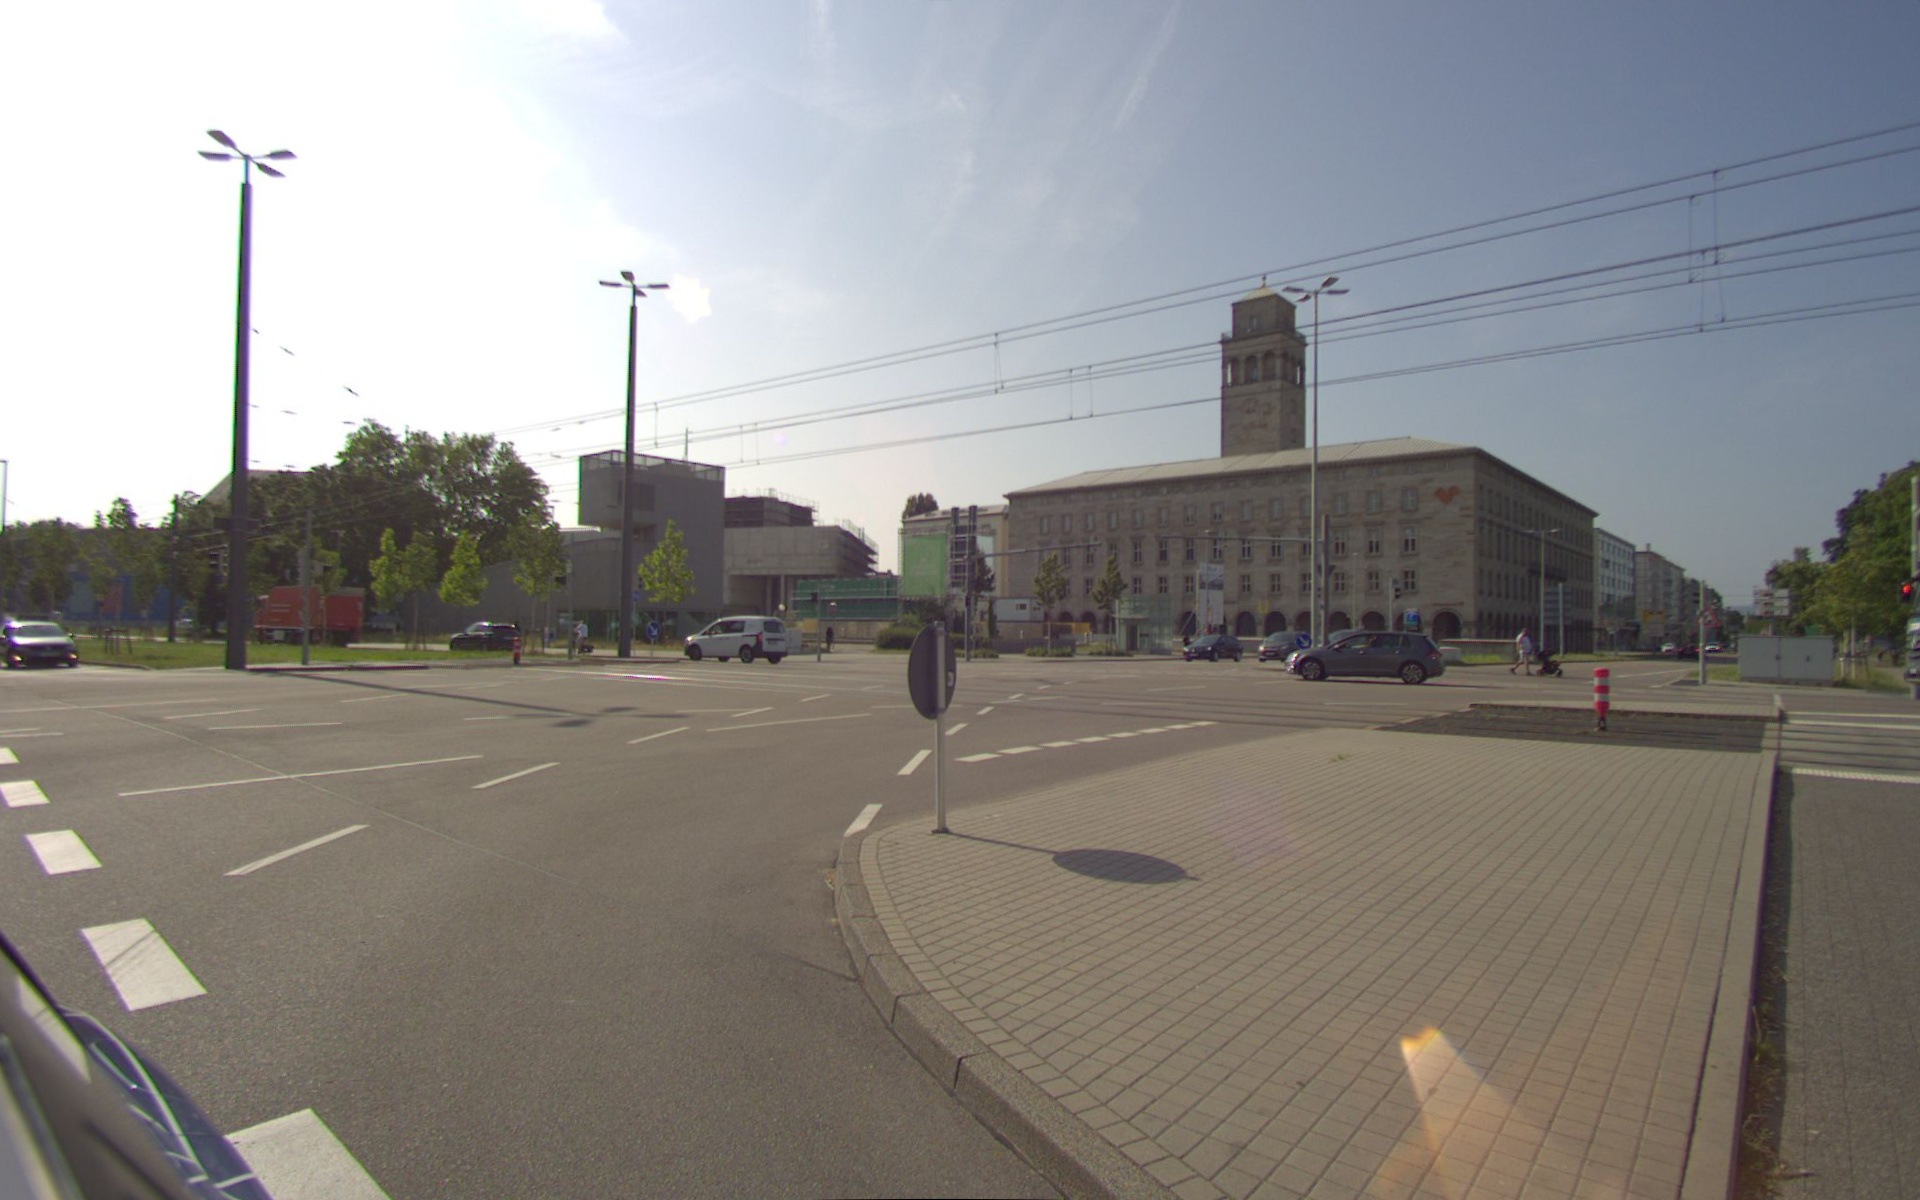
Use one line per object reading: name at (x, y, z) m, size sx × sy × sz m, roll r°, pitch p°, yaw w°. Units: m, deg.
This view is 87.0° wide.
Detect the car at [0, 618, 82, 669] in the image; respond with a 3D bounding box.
car at (-29.106, 1.336, 31.746) m, size 3.864 × 1.443 × 1.688 m, roll -1°, pitch 0°, yaw 38°

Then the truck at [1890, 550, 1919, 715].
truck at (25.243, 0.690, 20.543) m, size 8.863 × 3.614 × 2.997 m, roll -1°, pitch -2°, yaw 33°

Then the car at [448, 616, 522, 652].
car at (-22.983, 1.610, 48.941) m, size 3.994 × 1.613 × 1.624 m, roll 0°, pitch 0°, yaw 38°

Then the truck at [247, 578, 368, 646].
truck at (-39.921, 0.798, 61.724) m, size 10.408 × 3.838 × 2.943 m, roll -1°, pitch -2°, yaw 38°

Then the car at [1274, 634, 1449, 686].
car at (11.260, 1.646, 28.469) m, size 4.405 × 1.357 × 1.585 m, roll -1°, pitch -2°, yaw 30°

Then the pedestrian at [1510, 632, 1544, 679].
pedestrian at (21.150, 2.057, 37.754) m, size 1.005 × 1.747 × 0.554 m, roll -1°, pitch -2°, yaw 41°

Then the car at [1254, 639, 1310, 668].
car at (16.643, 2.727, 52.273) m, size 1.707 × 1.391 × 3.609 m, roll -1°, pitch -2°, yaw 36°

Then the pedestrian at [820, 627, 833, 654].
pedestrian at (-8.377, 2.535, 63.607) m, size 0.538 × 1.710 × 0.599 m, roll -1°, pitch -3°, yaw 42°

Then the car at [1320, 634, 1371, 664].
car at (19.081, 2.408, 50.062) m, size 1.566 × 1.431 × 3.301 m, roll -1°, pitch -2°, yaw 36°

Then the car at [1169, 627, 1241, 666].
car at (13.280, 2.498, 54.694) m, size 3.940 × 2.029 × 2.001 m, roll 2°, pitch -2°, yaw -44°

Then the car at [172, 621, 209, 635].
car at (-98.708, 3.623, 129.793) m, size 4.804 × 1.781 × 1.999 m, roll -1°, pitch -2°, yaw 30°

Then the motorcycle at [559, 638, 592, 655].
motorcycle at (-18.968, 2.290, 49.948) m, size 1.815 × 0.839 × 0.515 m, roll -1°, pitch -2°, yaw 31°

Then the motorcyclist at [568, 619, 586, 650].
motorcyclist at (-18.898, 1.708, 49.929) m, size 0.858 × 1.539 × 0.388 m, roll -1°, pitch -2°, yaw 30°

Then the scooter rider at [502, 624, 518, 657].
scooter rider at (-23.579, 2.103, 53.011) m, size 0.548 × 1.711 × 0.533 m, roll -1°, pitch -2°, yaw 32°

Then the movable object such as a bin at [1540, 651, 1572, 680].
movable object such as a bin at (21.888, 2.387, 37.161) m, size 0.907 × 1.022 × 0.558 m, roll -1°, pitch -2°, yaw 41°

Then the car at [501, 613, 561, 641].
car at (-26.015, 1.633, 61.364) m, size 3.994 × 1.613 × 1.624 m, roll 0°, pitch 0°, yaw 38°

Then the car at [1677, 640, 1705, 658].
car at (72.350, 4.854, 100.128) m, size 1.886 × 1.732 × 3.946 m, roll -1°, pitch -2°, yaw 40°

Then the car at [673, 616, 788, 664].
car at (-9.064, 1.536, 39.870) m, size 4.499 × 1.802 × 1.605 m, roll -1°, pitch -2°, yaw 29°

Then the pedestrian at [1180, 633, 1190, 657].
pedestrian at (16.201, 3.235, 72.929) m, size 0.575 × 1.744 × 0.642 m, roll -1°, pitch -2°, yaw 26°
